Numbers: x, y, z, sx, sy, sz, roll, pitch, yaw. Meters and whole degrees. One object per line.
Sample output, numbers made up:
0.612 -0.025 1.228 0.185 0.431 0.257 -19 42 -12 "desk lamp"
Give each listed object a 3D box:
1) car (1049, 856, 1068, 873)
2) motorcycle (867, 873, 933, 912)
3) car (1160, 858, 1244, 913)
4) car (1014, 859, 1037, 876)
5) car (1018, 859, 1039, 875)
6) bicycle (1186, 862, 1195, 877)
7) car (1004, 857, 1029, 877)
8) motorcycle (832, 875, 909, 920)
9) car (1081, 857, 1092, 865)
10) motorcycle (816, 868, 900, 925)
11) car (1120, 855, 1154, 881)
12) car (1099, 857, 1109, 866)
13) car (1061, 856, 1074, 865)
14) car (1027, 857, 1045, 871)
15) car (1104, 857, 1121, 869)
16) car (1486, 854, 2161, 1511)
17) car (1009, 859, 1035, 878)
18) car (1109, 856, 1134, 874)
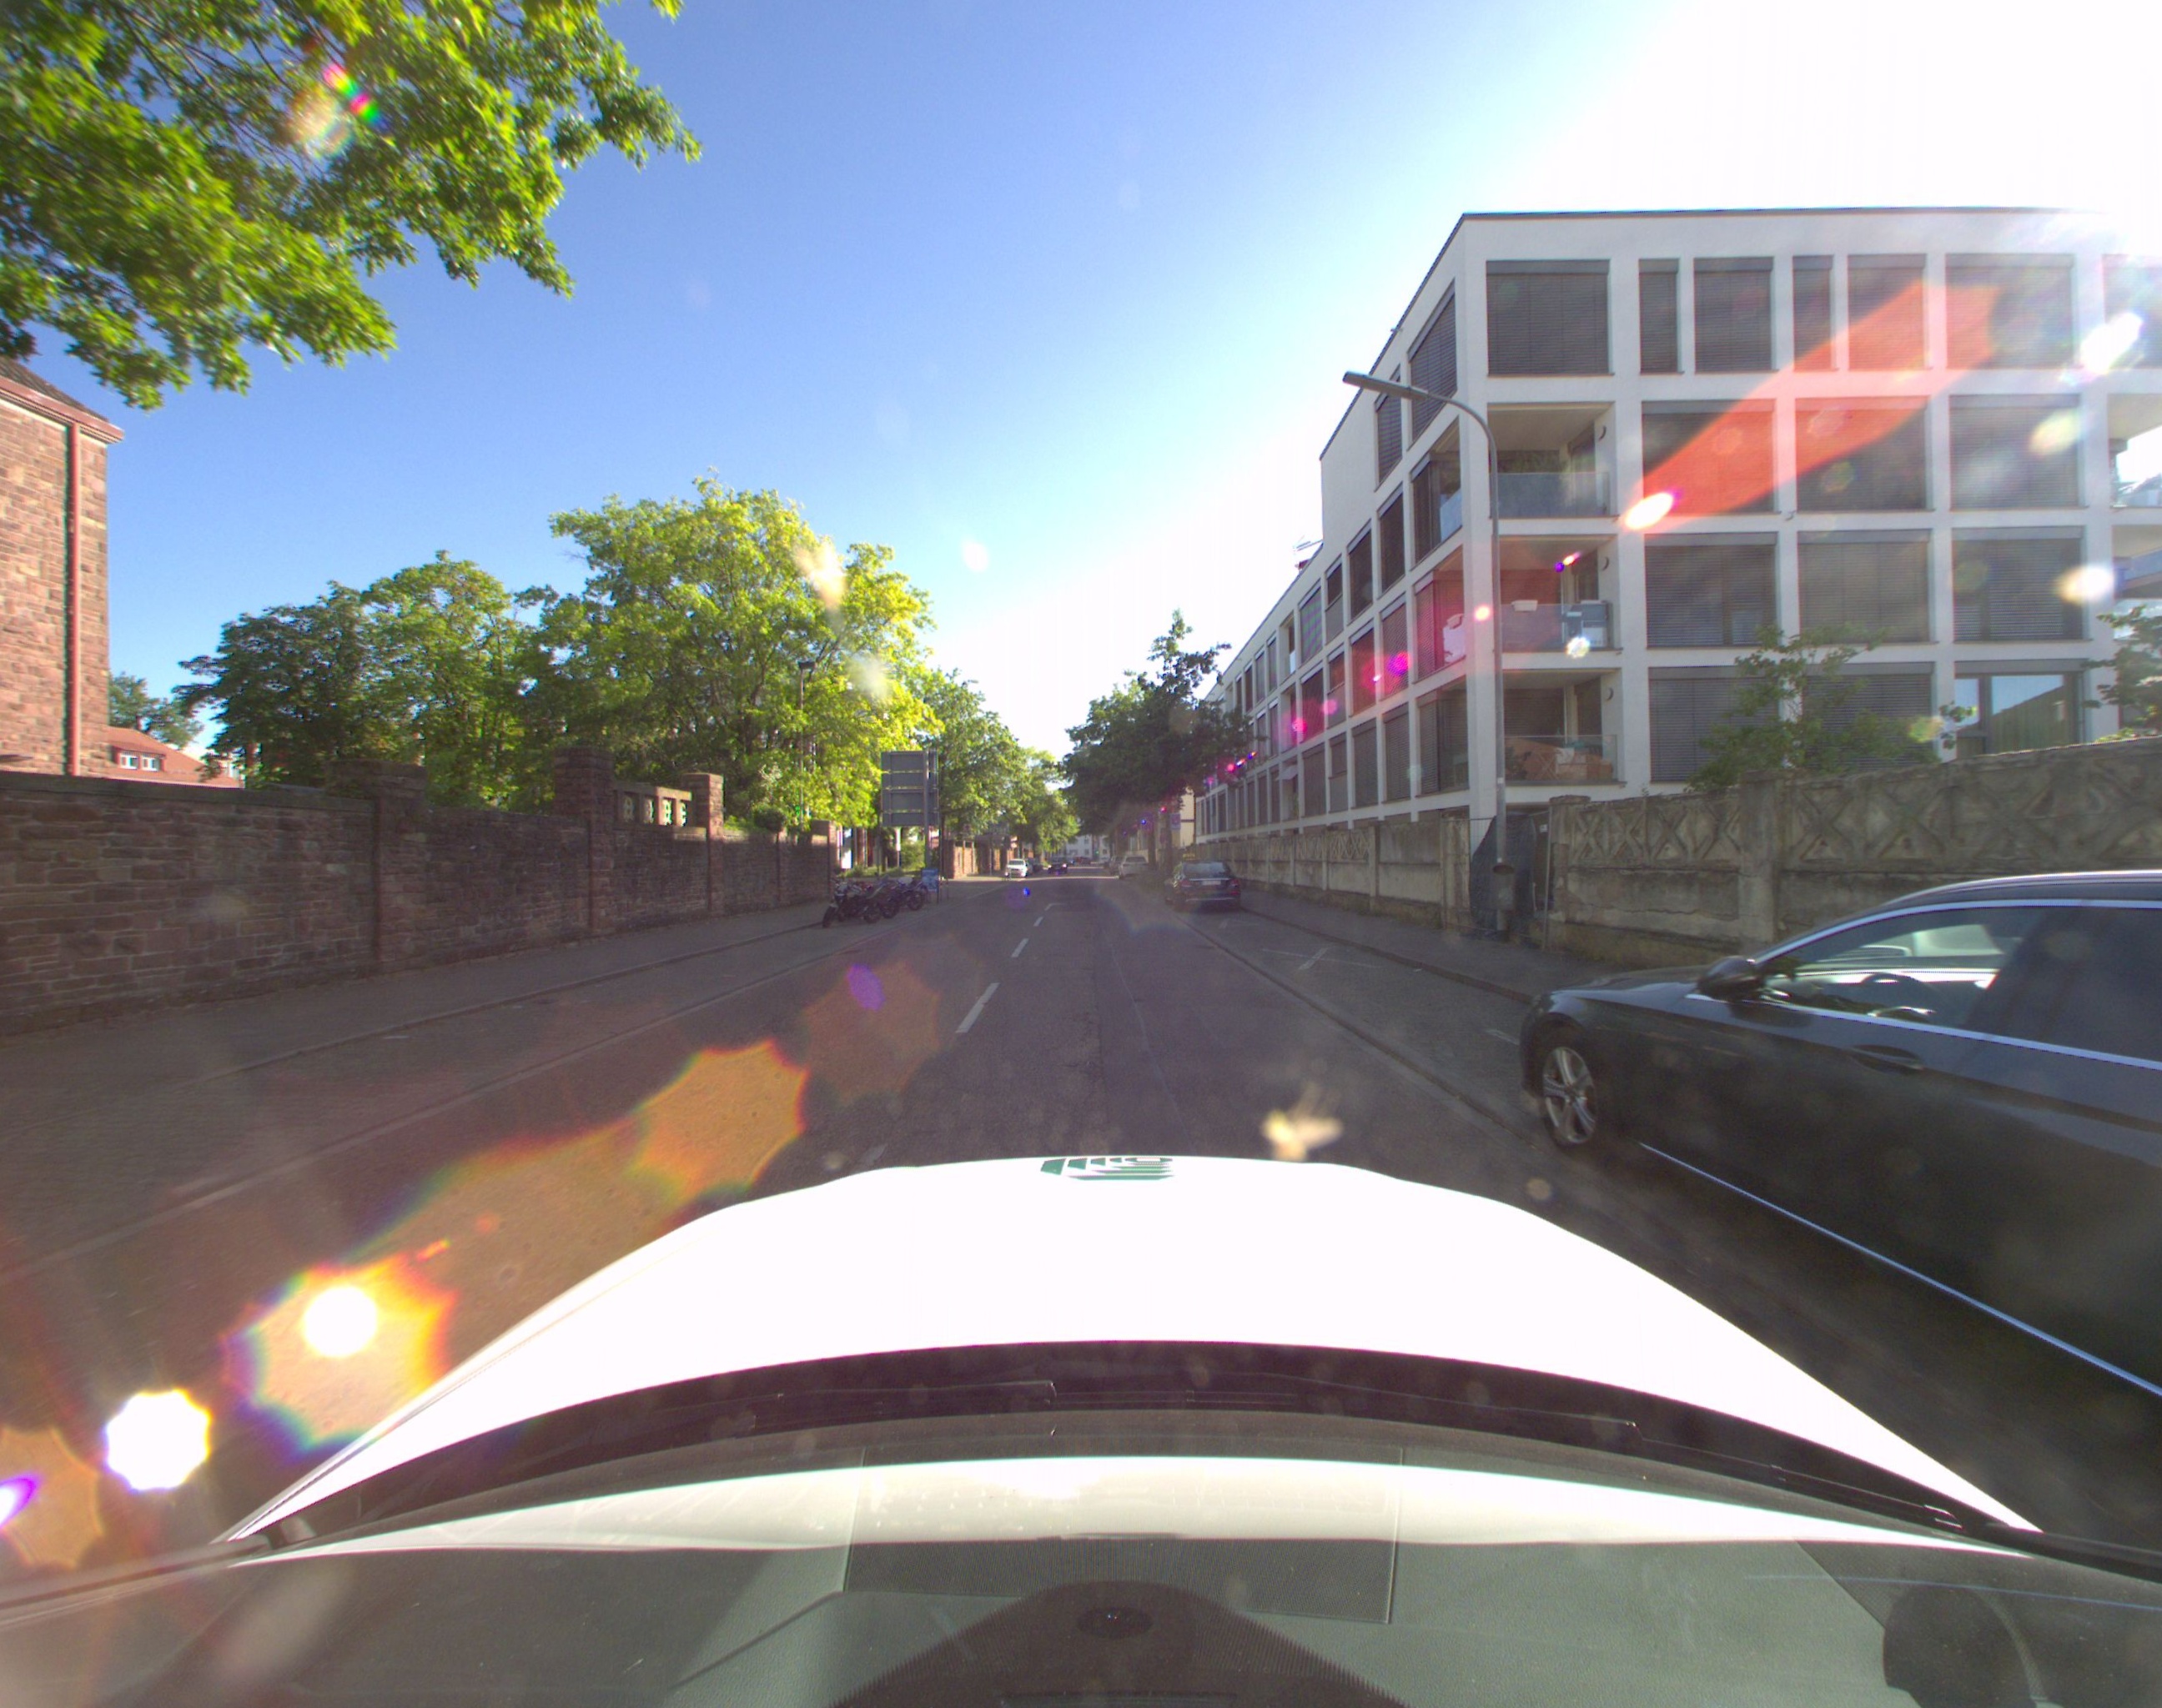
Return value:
-2.135 1.002 77.285 1.648 1.530 4.000 -1 0 0 "car"
-5.398 1.132 24.438 0.570 1.074 2.135 -1 0 33 "motorcycle"
3.418 0.840 23.666 1.762 1.440 3.998 -1 0 -1 "car"
-5.310 1.270 78.509 1.901 1.530 4.000 -1 0 0 "car"
-5.317 1.285 82.650 1.901 1.530 4.000 -1 0 0 "car"
6.319 0.891 46.888 0.354 0.842 1.324 -1 0 1 "bicycle"
-5.077 0.988 64.553 1.762 1.487 3.998 -1 0 -1 "car"
-5.533 1.124 21.527 0.570 1.074 2.135 -1 0 33 "motorcycle"
1.016 1.330 151.428 1.882 1.400 3.837 -1 0 1 "car"
-5.466 1.017 20.073 0.570 1.276 2.135 -1 0 33 "motorcycle"
3.580 0.853 52.509 1.943 1.578 3.837 -1 0 1 "car"
3.728 1.196 133.487 1.580 1.400 3.837 -1 0 1 "car"
-2.300 1.093 138.509 1.986 1.453 4.001 -1 0 2 "car"
-5.268 1.158 95.715 1.901 1.530 4.000 0 0 0 "car"
3.773 1.072 99.169 1.986 1.425 3.837 -1 0 1 "car"
3.273 0.738 2.484 1.698 1.468 4.788 0 0 0 "car"
-5.095 1.242 70.479 1.901 1.530 4.000 -1 0 0 "car"
3.354 0.918 68.385 1.986 1.465 3.837 -1 0 1 "car"
